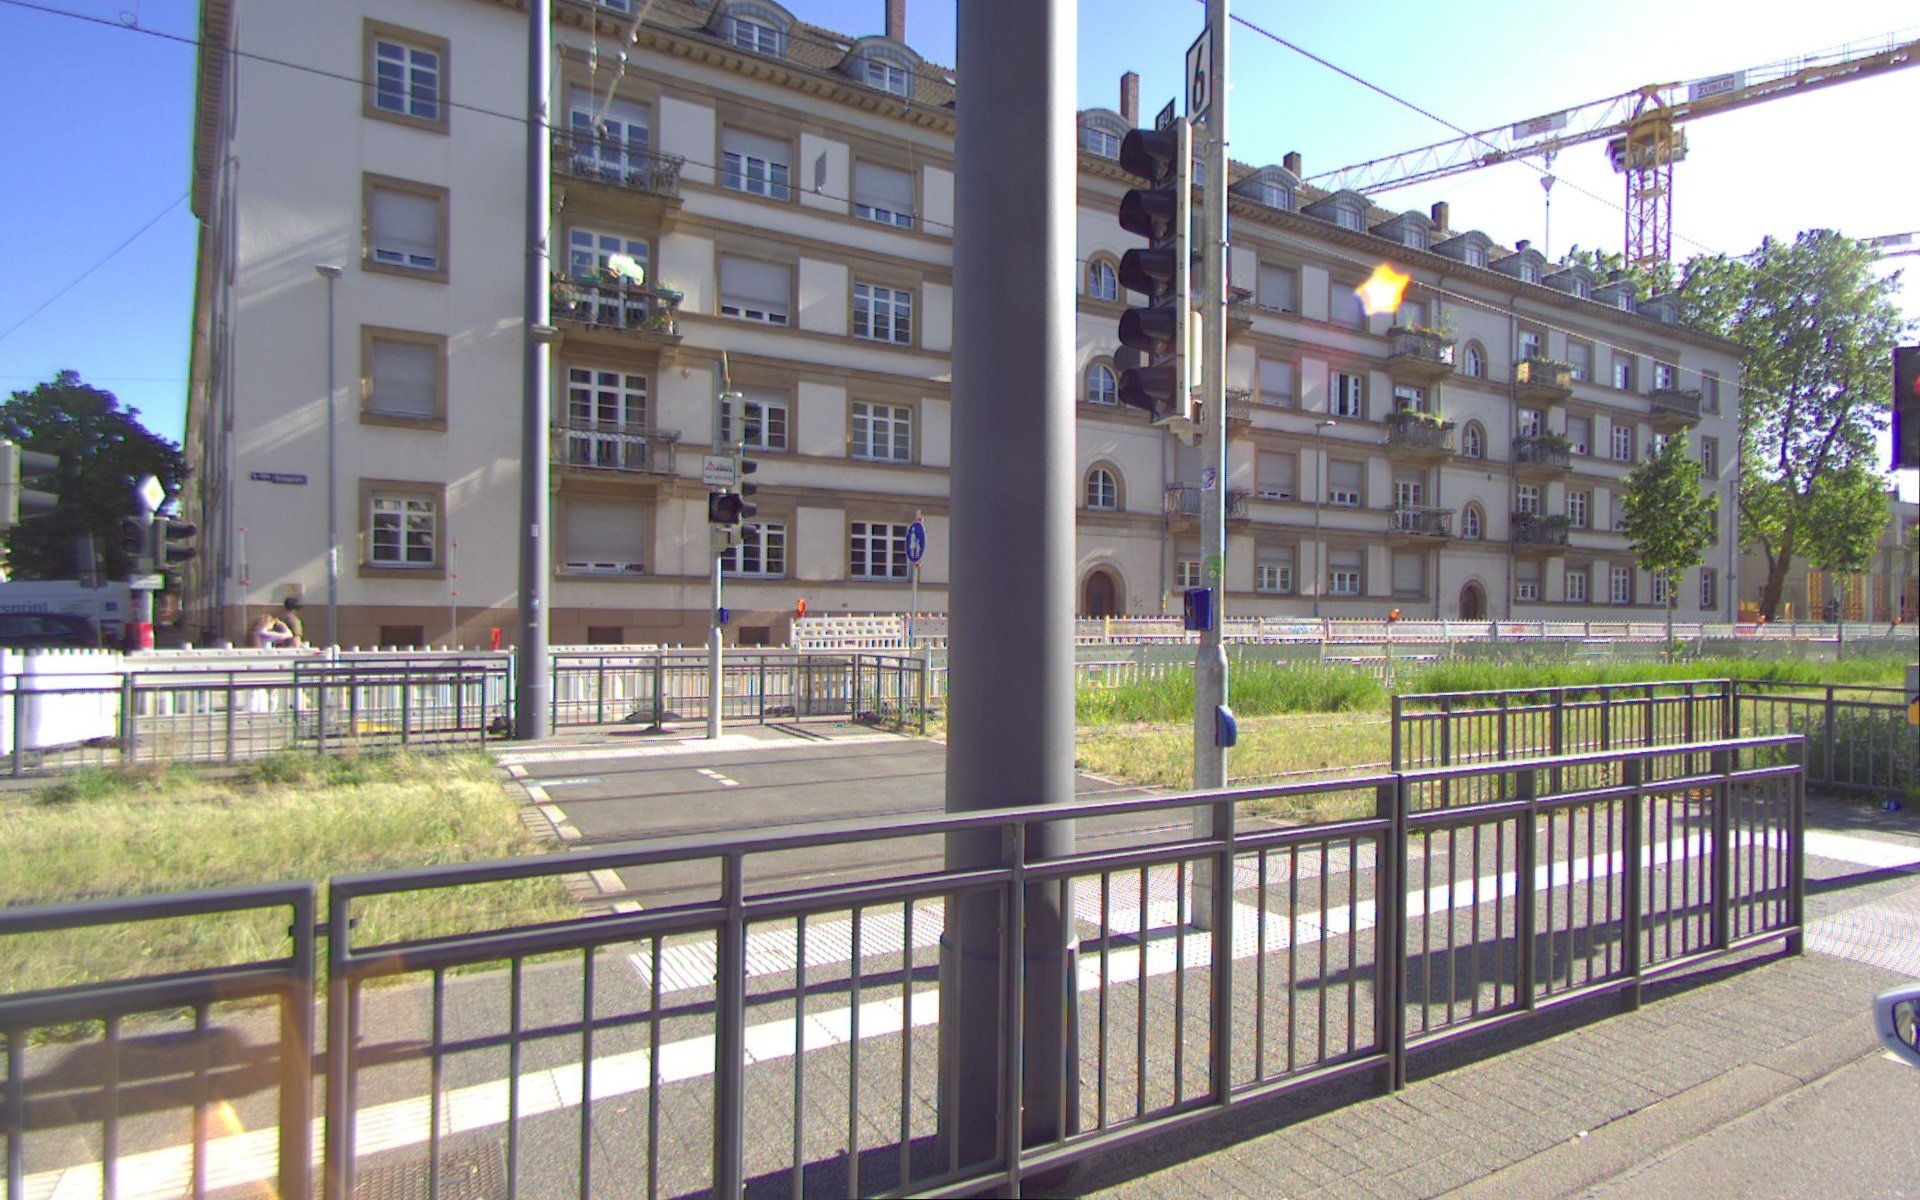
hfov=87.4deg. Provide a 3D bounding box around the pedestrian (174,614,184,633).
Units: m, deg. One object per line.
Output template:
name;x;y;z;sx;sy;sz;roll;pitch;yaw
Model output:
pedestrian;-72.303;2.156;93.000;0.682;1.778;0.808;1;-1;-36

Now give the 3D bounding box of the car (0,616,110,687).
car;-21.519;1.134;22.549;3.642;1.542;1.672;1;-1;-39

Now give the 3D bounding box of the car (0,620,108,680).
car;-25.070;1.315;26.691;3.635;1.542;1.672;1;-1;-39

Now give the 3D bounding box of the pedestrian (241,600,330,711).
pedestrian;-11.382;0.920;16.985;0.891;1.804;0.867;1;0;-1

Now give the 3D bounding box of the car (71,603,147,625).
car;-58.532;0.988;69.131;1.730;1.480;3.854;0;-1;43

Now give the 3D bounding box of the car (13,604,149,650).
car;-35.546;1.090;40.764;3.963;1.799;1.724;1;-1;-37

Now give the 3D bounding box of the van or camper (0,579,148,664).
van or camper;-28.127;0.639;30.015;5.911;2.432;1.976;1;-1;-42

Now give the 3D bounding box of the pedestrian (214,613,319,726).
pedestrian;-10.086;0.984;14.631;0.891;1.557;0.868;1;0;8
